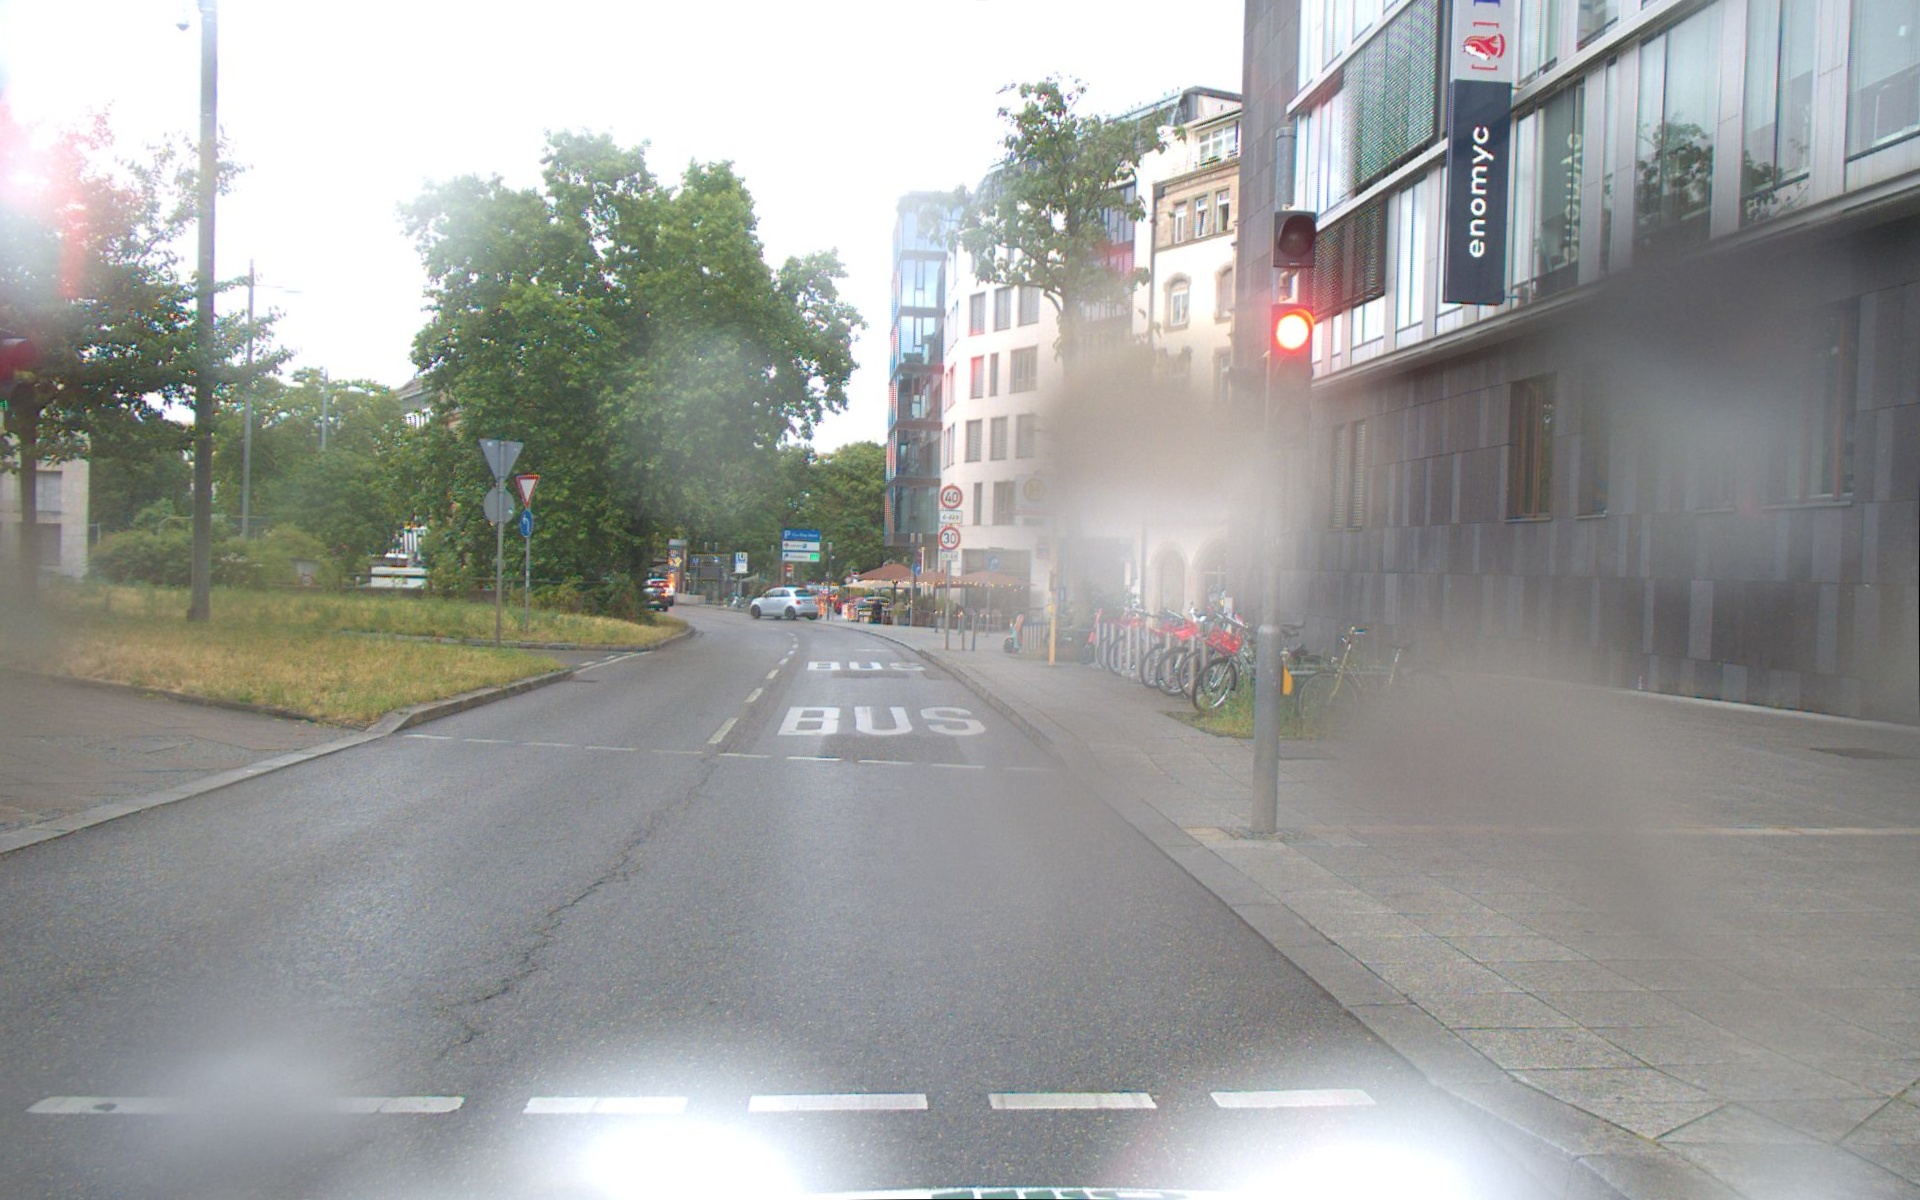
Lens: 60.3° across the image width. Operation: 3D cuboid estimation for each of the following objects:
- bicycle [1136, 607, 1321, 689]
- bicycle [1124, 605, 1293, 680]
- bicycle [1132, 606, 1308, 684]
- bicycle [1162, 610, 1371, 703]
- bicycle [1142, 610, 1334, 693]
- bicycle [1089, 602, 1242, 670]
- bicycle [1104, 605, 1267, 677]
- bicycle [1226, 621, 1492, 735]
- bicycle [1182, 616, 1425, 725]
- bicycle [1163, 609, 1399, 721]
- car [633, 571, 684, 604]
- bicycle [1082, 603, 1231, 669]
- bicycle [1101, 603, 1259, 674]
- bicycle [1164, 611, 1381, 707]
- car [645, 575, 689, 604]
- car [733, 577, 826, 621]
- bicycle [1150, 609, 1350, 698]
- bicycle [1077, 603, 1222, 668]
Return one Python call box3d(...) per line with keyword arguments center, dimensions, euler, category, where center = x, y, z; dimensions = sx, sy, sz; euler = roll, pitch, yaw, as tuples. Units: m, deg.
box3d(center=(3.791, 0.679, 23.442), dimensions=(2.486, 1.106, 0.677), euler=(1, 0, -6), category="bicycle")
box3d(center=(3.838, 0.656, 25.618), dimensions=(2.486, 1.106, 0.677), euler=(1, 0, -6), category="bicycle")
box3d(center=(3.864, 0.661, 24.640), dimensions=(2.486, 1.106, 0.677), euler=(1, 0, -6), category="bicycle")
box3d(center=(3.851, 0.707, 20.857), dimensions=(2.486, 1.106, 0.677), euler=(1, 0, -6), category="bicycle")
box3d(center=(3.776, 0.697, 22.533), dimensions=(2.486, 1.078, 0.677), euler=(1, 0, -6), category="bicycle")
box3d(center=(3.478, 0.611, 28.093), dimensions=(2.486, 1.106, 0.677), euler=(1, 0, -6), category="bicycle")
box3d(center=(3.590, 0.647, 26.453), dimensions=(2.486, 1.106, 0.677), euler=(1, 0, -6), category="bicycle")
box3d(center=(3.961, 0.770, 16.498), dimensions=(2.487, 1.075, 0.677), euler=(1, 0, -6), category="bicycle")
box3d(center=(3.716, 0.762, 17.971), dimensions=(2.487, 1.106, 0.677), euler=(1, 0, -6), category="bicycle")
box3d(center=(3.629, 0.727, 18.773), dimensions=(2.487, 1.106, 0.677), euler=(3, 0, -6), category="bicycle")
box3d(center=(-16.828, -0.702, 92.047), dimensions=(2.129, 1.735, 4.530), euler=(2, 0, -19), category="car")
box3d(center=(3.421, 0.620, 28.839), dimensions=(2.486, 1.106, 0.677), euler=(1, 0, -6), category="bicycle")
box3d(center=(3.613, 0.628, 27.206), dimensions=(2.486, 1.106, 0.677), euler=(1, 0, -6), category="bicycle")
box3d(center=(3.766, 0.708, 20.001), dimensions=(2.486, 1.106, 0.677), euler=(1, 0, -6), category="bicycle")
box3d(center=(-18.648, -0.680, 105.026), dimensions=(2.146, 1.730, 3.979), euler=(2, 0, -19), category="car")
box3d(center=(-8.573, -0.044, 78.644), dimensions=(3.919, 1.675, 1.994), euler=(6, 0, 34), category="car")
box3d(center=(3.783, 0.698, 21.667), dimensions=(2.486, 1.106, 0.677), euler=(1, 0, -6), category="bicycle")
box3d(center=(3.375, 0.626, 29.561), dimensions=(2.486, 1.106, 0.627), euler=(1, 0, -6), category="bicycle")
